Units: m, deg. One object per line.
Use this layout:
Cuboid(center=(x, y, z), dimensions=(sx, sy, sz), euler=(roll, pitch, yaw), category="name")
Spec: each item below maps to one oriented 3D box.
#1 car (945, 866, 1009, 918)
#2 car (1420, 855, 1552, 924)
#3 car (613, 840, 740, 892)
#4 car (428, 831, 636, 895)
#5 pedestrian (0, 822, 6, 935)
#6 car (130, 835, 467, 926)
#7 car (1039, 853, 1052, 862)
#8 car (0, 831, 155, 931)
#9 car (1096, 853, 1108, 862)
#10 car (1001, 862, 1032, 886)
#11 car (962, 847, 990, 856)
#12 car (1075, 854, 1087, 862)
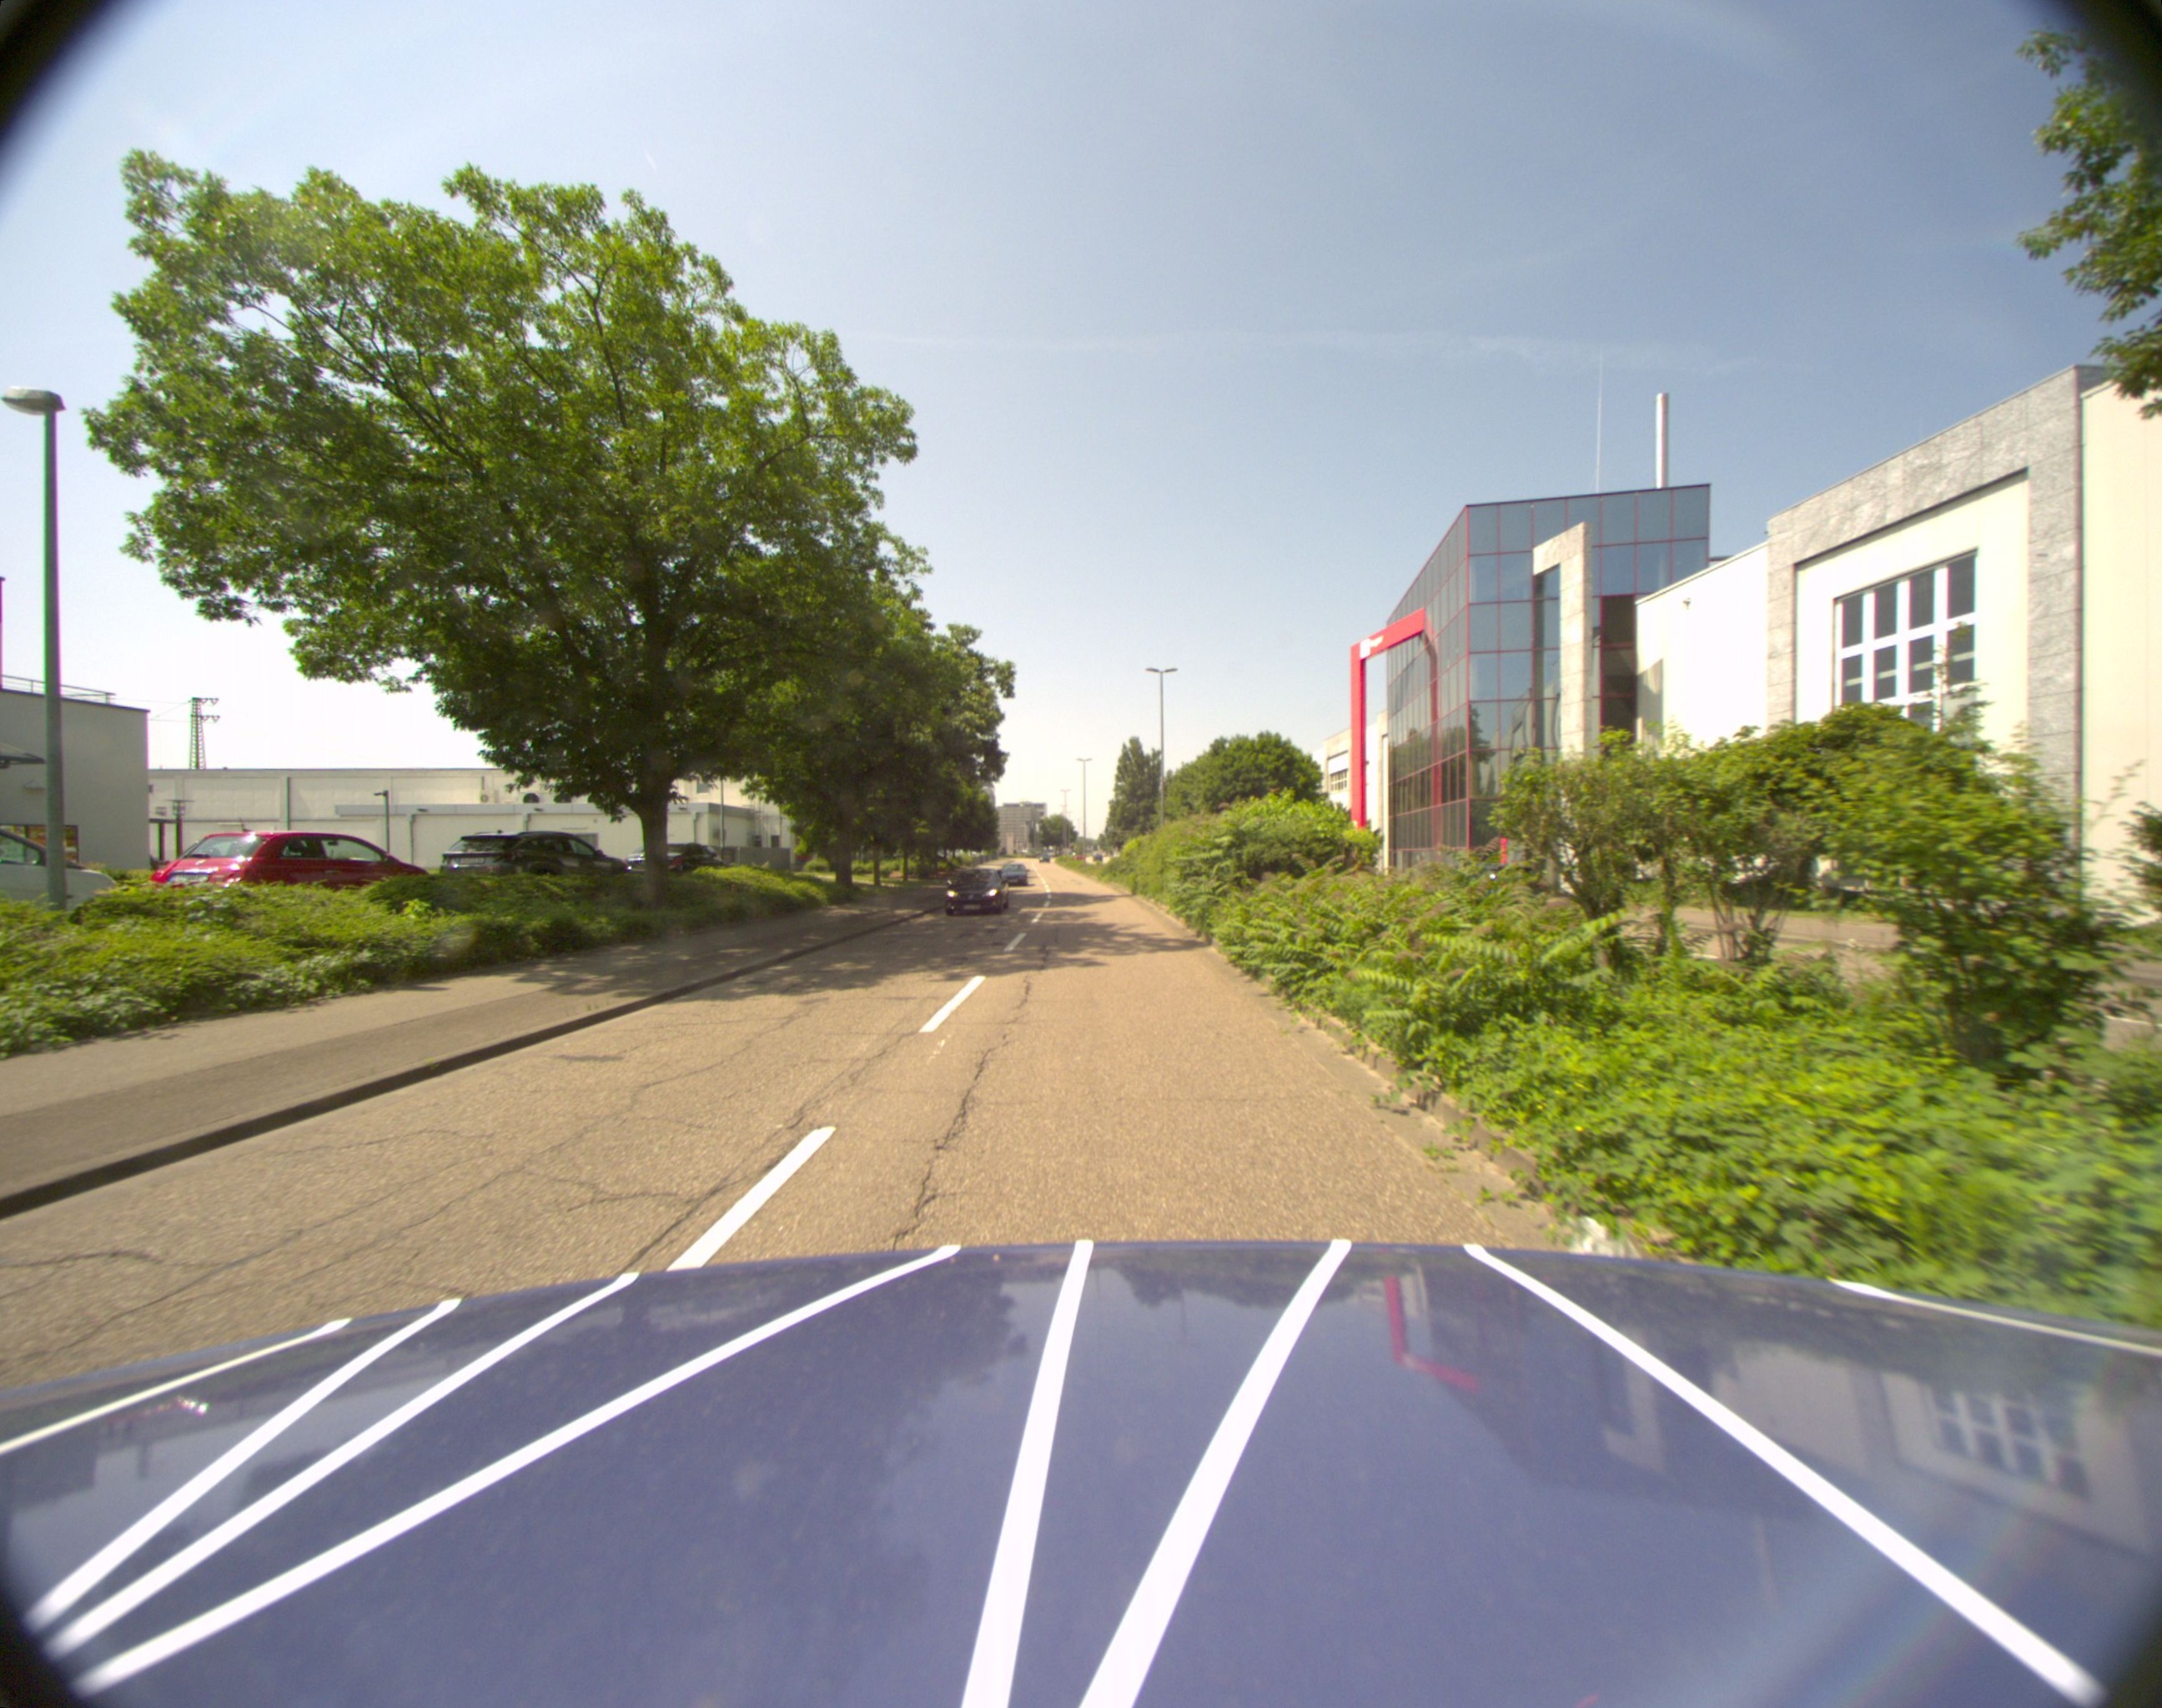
Cuboid(center=(-3.146, 1.118, 23.522), dimensions=(1.641, 1.349, 3.498), euler=(-2, 1, -3), category="car")
Cuboid(center=(10.963, 0.885, 20.861), dimensions=(1.693, 1.642, 3.630), euler=(-1, 1, 0), category="car")
Cuboid(center=(-12.837, 0.308, 24.553), dimensions=(1.912, 1.443, 5.596), euler=(-2, 1, -10), category="car")
Cuboid(center=(-12.510, 0.156, 17.701), dimensions=(1.623, 1.245, 4.199), euler=(-3, 1, 2), category="car")
Cuboid(center=(-18.507, 0.420, 12.641), dimensions=(0.467, 1.910, 0.534), euler=(0, 1, 1), category="pedestrian")
Cuboid(center=(-12.522, 0.349, 12.566), dimensions=(1.623, 1.245, 3.763), euler=(-1, 1, 0), category="car")
Cuboid(center=(-5.550, 0.567, 118.998), dimensions=(1.868, 1.390, 3.999), euler=(0, 0, -2), category="car")
Cuboid(center=(-12.781, 0.323, 8.415), dimensions=(1.511, 1.116, 2.855), euler=(-1, 1, 0), category="car")
Cuboid(center=(3.852, 0.635, 136.919), dimensions=(1.727, 1.408, 4.245), euler=(2, 0, -4), category="car")
Cuboid(center=(-3.851, 1.162, 45.634), dimensions=(1.712, 1.316, 3.954), euler=(-1, 0, -4), category="car")
Cuboid(center=(-17.749, -0.510, 128.971), dimensions=(4.589, 1.496, 1.697), euler=(0, 1, -3), category="car")
Cuboid(center=(0.014, 0.654, 131.922), dimensions=(1.734, 1.316, 4.147), euler=(1, 1, -3), category="car")
